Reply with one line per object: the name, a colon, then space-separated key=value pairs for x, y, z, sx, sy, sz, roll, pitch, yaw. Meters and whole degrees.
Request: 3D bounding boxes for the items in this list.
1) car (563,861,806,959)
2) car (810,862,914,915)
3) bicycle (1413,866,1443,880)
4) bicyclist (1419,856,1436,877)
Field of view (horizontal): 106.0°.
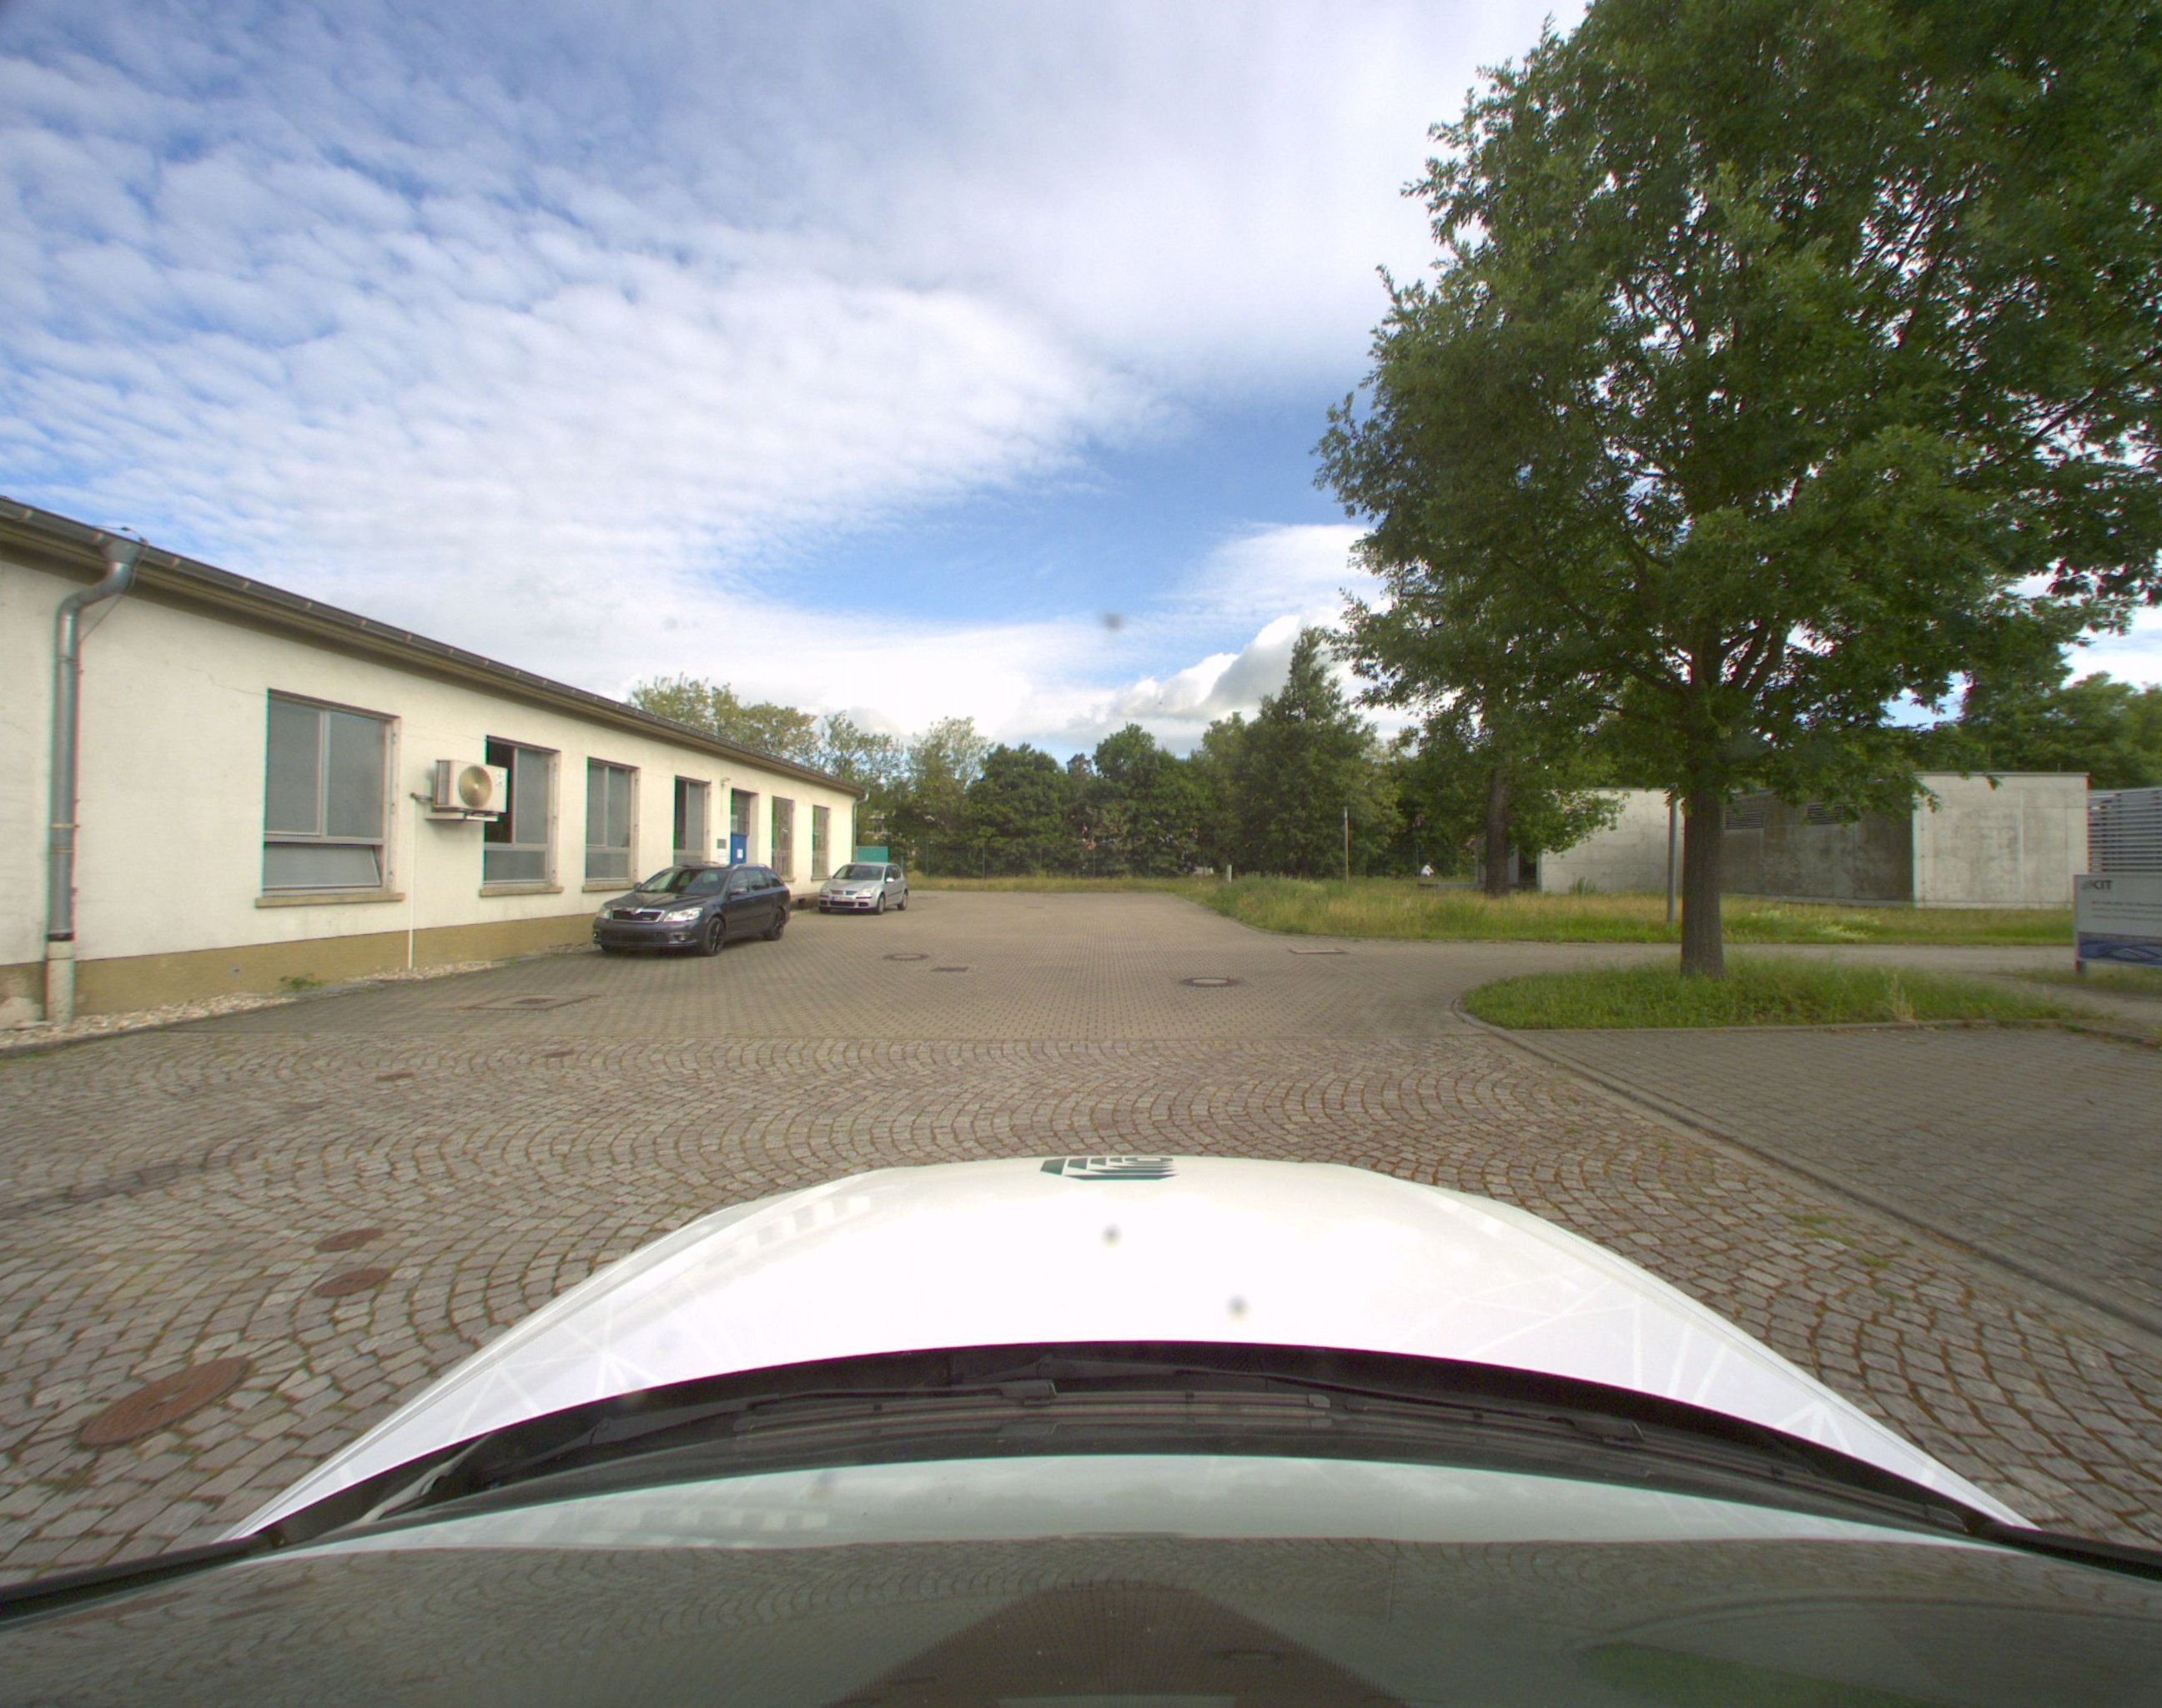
car: x=-6.684 y=0.853 z=14.455 sx=1.918 sy=1.439 sz=4.810 roll=0 pitch=-1 yaw=0
car: x=-6.403 y=0.953 z=24.347 sx=1.918 sy=1.439 sz=4.367 roll=0 pitch=-1 yaw=0
bicycle: x=20.559 y=1.112 z=48.278 sx=1.511 sy=0.791 sz=0.588 roll=0 pitch=-1 yaw=1
bicyclist: x=20.548 y=0.752 z=48.307 sx=0.767 sy=1.206 sz=0.588 roll=0 pitch=-1 yaw=1
